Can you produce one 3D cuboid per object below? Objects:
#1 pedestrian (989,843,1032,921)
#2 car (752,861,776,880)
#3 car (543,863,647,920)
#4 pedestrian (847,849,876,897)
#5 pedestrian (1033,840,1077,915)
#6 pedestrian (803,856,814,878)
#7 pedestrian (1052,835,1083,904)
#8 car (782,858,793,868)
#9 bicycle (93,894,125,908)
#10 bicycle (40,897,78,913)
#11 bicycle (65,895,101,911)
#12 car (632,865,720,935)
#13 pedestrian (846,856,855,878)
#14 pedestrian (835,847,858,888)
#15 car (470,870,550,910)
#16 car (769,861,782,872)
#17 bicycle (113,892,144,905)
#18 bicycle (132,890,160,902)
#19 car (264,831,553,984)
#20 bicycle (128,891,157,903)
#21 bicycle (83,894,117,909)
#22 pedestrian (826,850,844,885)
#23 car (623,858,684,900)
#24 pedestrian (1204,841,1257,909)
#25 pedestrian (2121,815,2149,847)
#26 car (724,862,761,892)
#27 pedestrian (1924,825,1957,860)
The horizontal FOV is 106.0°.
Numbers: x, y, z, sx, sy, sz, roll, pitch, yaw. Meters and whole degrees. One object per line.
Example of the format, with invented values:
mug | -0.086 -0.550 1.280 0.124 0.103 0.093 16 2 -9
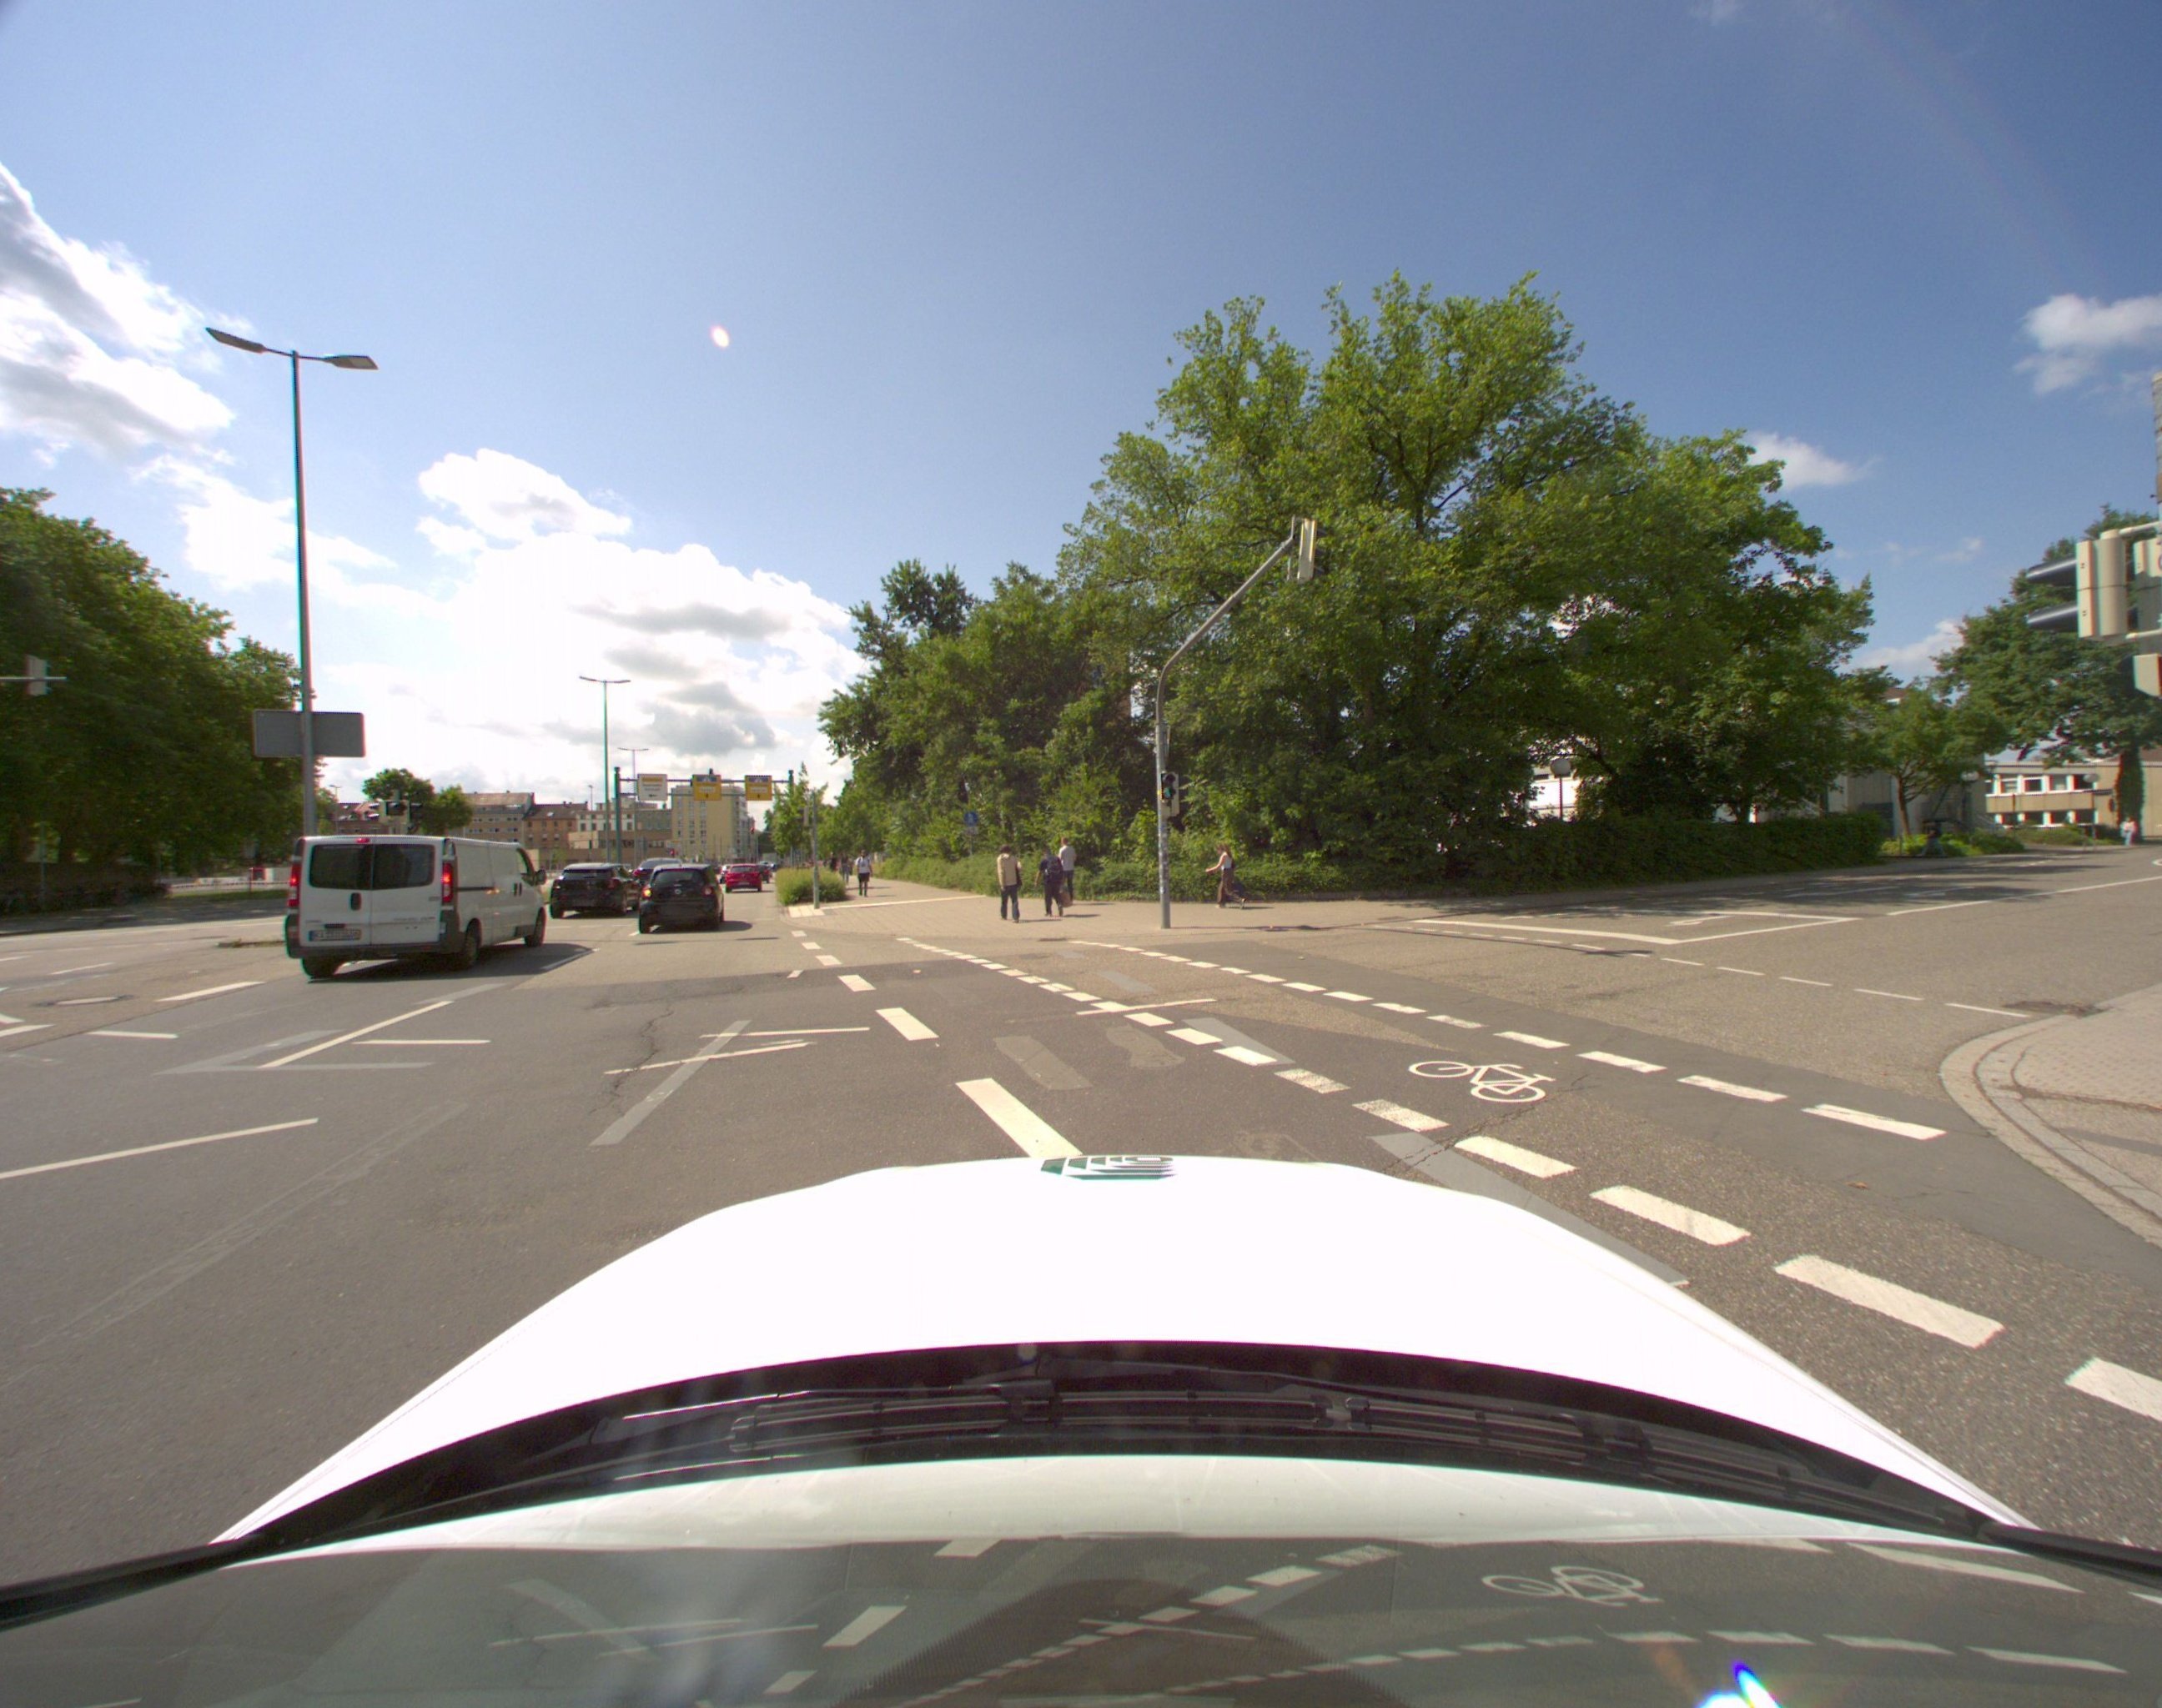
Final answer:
pedestrian | -1.627 0.607 18.599 0.796 1.704 1.177 -1 0 -14
car | -24.507 1.289 62.863 1.618 1.411 3.491 1 -1 -22
car | -14.490 1.050 24.569 2.026 1.530 4.849 0 -1 -23
pedestrian | -8.086 0.691 30.035 0.855 1.700 0.924 -3 0 -22
pedestrian | -0.620 0.537 19.274 0.796 1.704 1.177 -1 0 -14
pedestrian | -23.901 1.135 71.435 0.842 1.969 0.854 -1 0 -24
pedestrian | -0.360 0.400 21.858 0.672 1.821 0.700 -1 0 -15
car | -58.605 1.846 162.582 1.949 1.963 3.924 0 -1 -19
bicycle | -50.473 2.418 42.291 0.404 0.682 1.013 -1 -1 26
bicycle | -46.437 2.322 37.013 0.404 0.682 1.013 -1 -1 26
bicycle | -48.288 2.365 39.401 0.404 0.682 1.013 -1 -1 26
car | -9.581 1.012 19.477 1.618 1.485 3.491 -1 0 -22
pedestrian | -20.262 1.152 71.614 0.506 1.891 0.553 1 -2 -44
pedestrian | -11.009 0.636 38.229 0.842 1.868 1.011 -1 0 -24
car | -23.354 1.423 33.443 1.754 1.472 3.779 -1 -1 -20
car | -48.495 2.021 129.443 1.741 1.664 3.924 0 -1 -19
bicycle | -52.379 2.464 44.802 0.404 0.682 1.013 -1 -1 26
bicycle | -56.533 2.546 49.247 0.404 0.682 1.013 -1 -1 26
car | -10.404 0.703 13.198 2.013 1.955 5.158 0 -1 -21
bicycle | -55.162 2.520 47.864 0.404 0.682 1.013 -1 -1 26
bicycle | -49.535 2.396 41.114 0.404 0.682 1.013 -1 -1 26
pedestrian | -14.151 0.747 46.859 0.842 1.969 0.854 -1 0 -24
car | -17.577 0.986 33.647 1.834 1.601 4.360 0 -1 -22
pedestrian | 3.727 0.506 20.292 1.007 1.626 0.863 0 2 36
pedestrian | 55.907 -1.225 43.198 0.885 1.627 0.709 -2 0 -27
car | -17.027 1.117 40.998 1.618 1.411 3.491 1 0 -22
pedestrian | 38.520 -0.501 36.501 0.521 1.521 0.846 0 -1 -23
